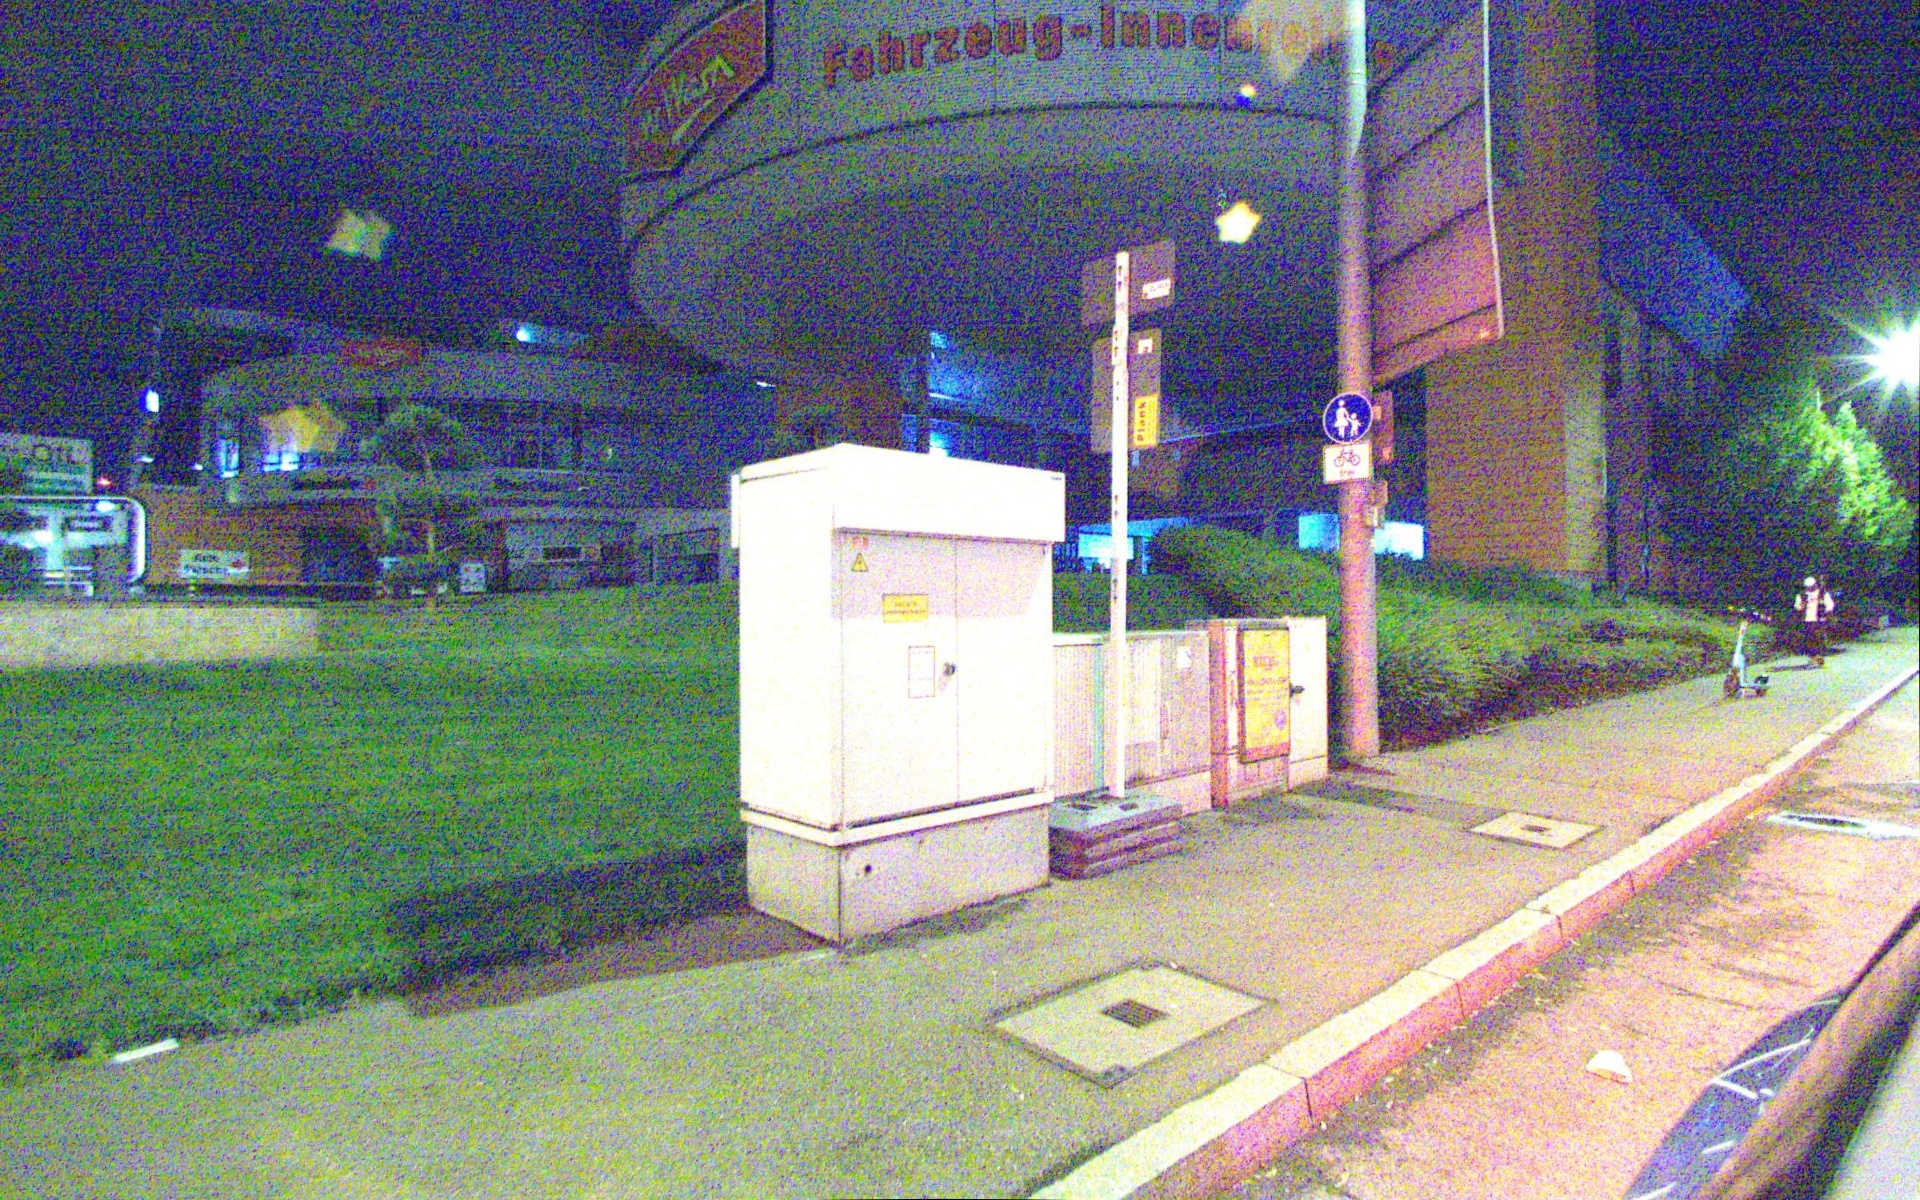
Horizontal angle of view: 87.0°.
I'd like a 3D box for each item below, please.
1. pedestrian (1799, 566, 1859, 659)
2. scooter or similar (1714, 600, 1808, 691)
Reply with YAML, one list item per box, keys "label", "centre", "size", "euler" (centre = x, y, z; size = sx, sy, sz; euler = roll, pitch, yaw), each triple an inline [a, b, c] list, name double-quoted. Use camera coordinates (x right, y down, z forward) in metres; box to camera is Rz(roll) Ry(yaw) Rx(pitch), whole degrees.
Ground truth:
- label: "pedestrian"
  centre: [18.268, 0.251, 21.279]
  size: [1.016, 1.888, 0.819]
  euler: [0, 0, -41]
- label: "scooter or similar"
  centre: [11.044, 0.624, 13.954]
  size: [1.111, 1.217, 0.470]
  euler: [1, -1, -17]
